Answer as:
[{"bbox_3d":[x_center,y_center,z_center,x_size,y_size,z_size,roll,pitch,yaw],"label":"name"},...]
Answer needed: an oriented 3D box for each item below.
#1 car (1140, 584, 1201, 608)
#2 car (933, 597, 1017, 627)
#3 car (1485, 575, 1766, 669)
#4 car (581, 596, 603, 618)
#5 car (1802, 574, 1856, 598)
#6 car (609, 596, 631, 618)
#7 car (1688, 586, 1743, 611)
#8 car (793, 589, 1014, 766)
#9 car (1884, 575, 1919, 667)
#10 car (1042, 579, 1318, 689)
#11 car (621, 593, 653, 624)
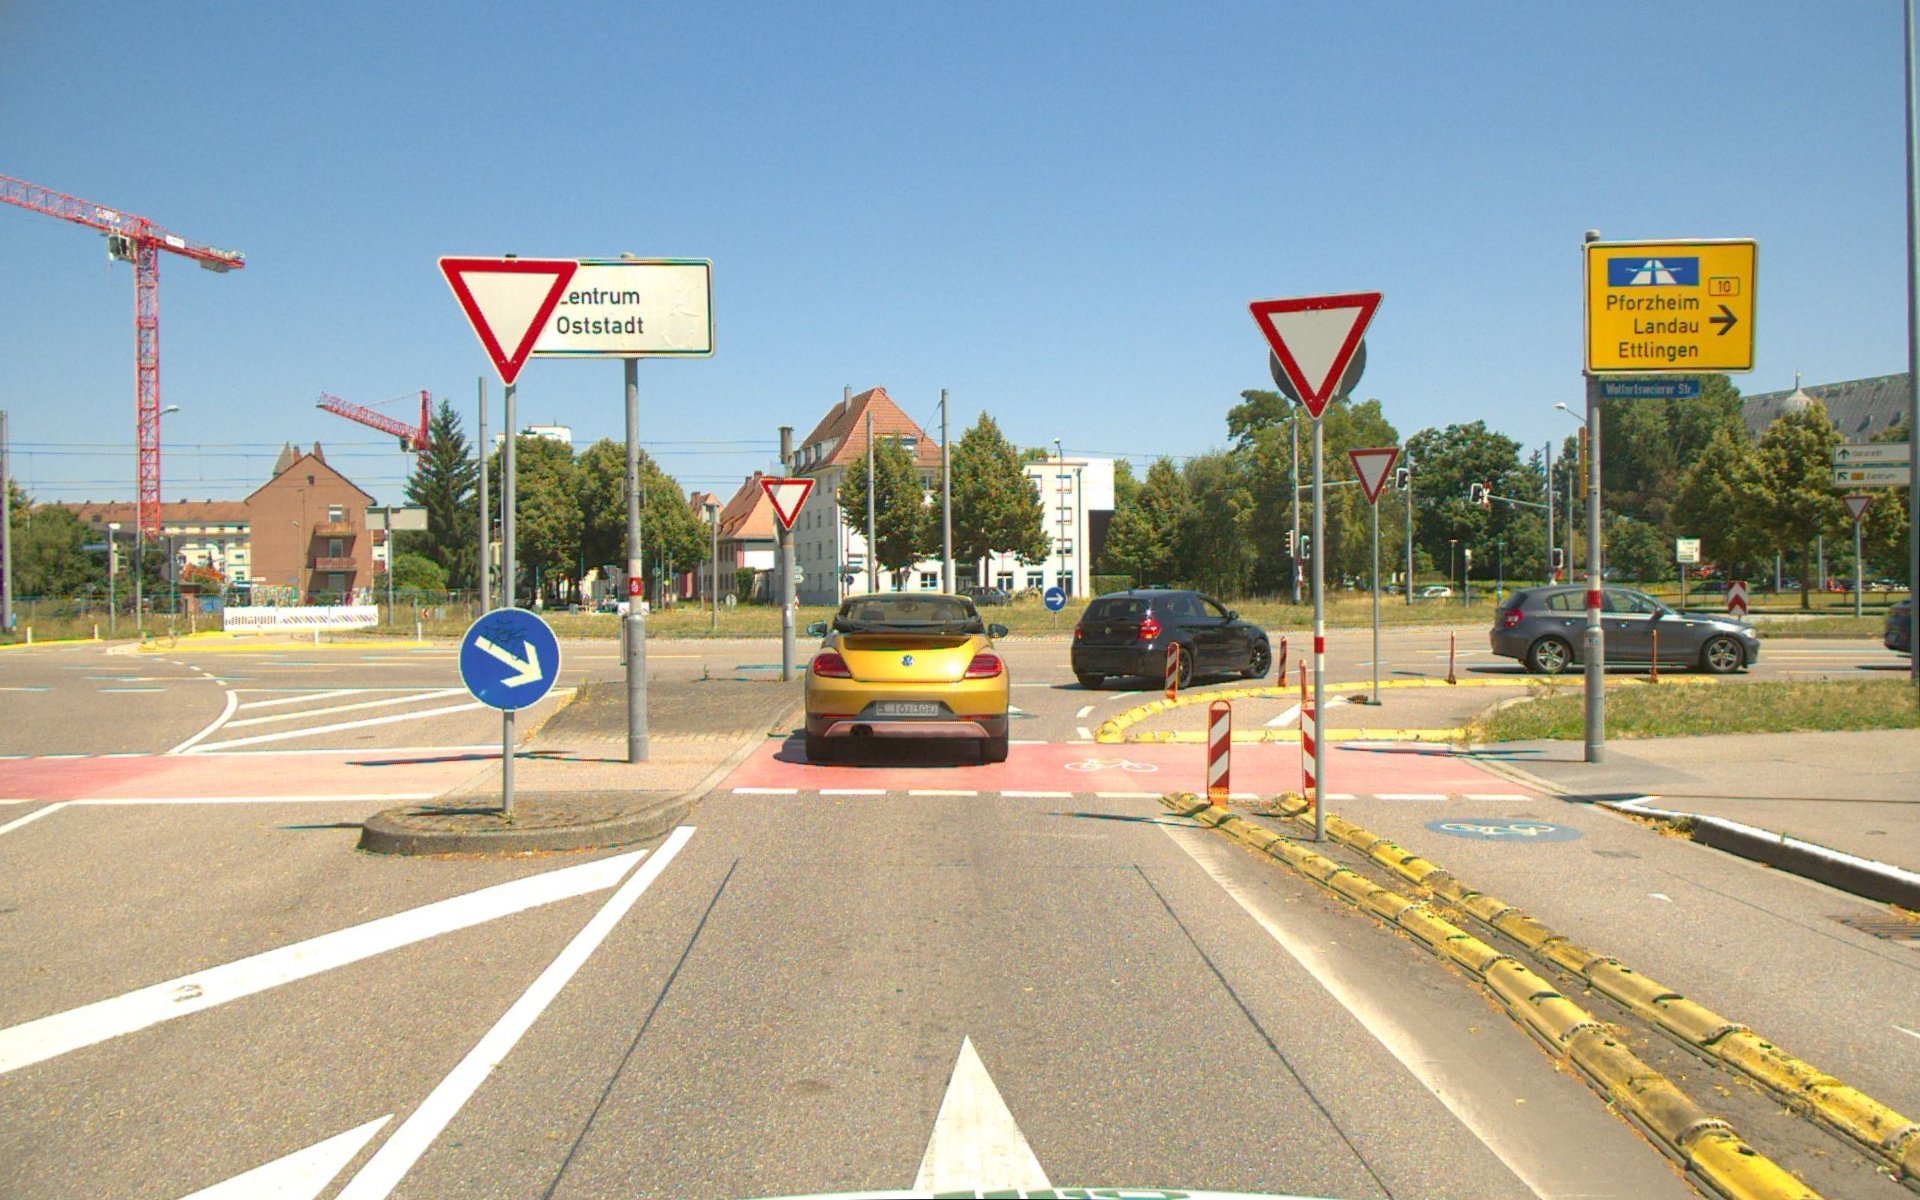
[{"bbox_3d":[15.337,-0.307,120.556,3.919,1.713,1.993,1,0,-14],"label":"car"},{"bbox_3d":[0.788,0.629,86.874,3.908,1.490,1.998,0,0,26],"label":"car"},{"bbox_3d":[10.795,0.344,27.076,3.980,1.427,1.755,-1,1,10],"label":"car"},{"bbox_3d":[-34.343,0.628,154.223,1.959,2.049,3.986,1,0,-14],"label":"car"},{"bbox_3d":[76.389,-1.236,145.433,3.923,2.049,1.991,0,0,38],"label":"car"},{"bbox_3d":[-33.216,0.668,161.391,1.959,2.049,3.986,1,0,-14],"label":"car"},{"bbox_3d":[63.380,-0.106,138.752,3.923,2.049,1.991,0,0,38],"label":"car"},{"bbox_3d":[-0.490,0.621,15.293,1.788,1.427,3.661,0,0,-1],"label":"car"},{"bbox_3d":[17.317,0.285,26.174,4.347,1.443,2.001,-1,0,17],"label":"car"},{"bbox_3d":[3.335,0.454,24.808,3.953,1.465,1.781,-1,1,-35],"label":"car"},{"bbox_3d":[-22.319,0.587,114.214,1.959,2.049,3.986,1,0,-14],"label":"car"}]
